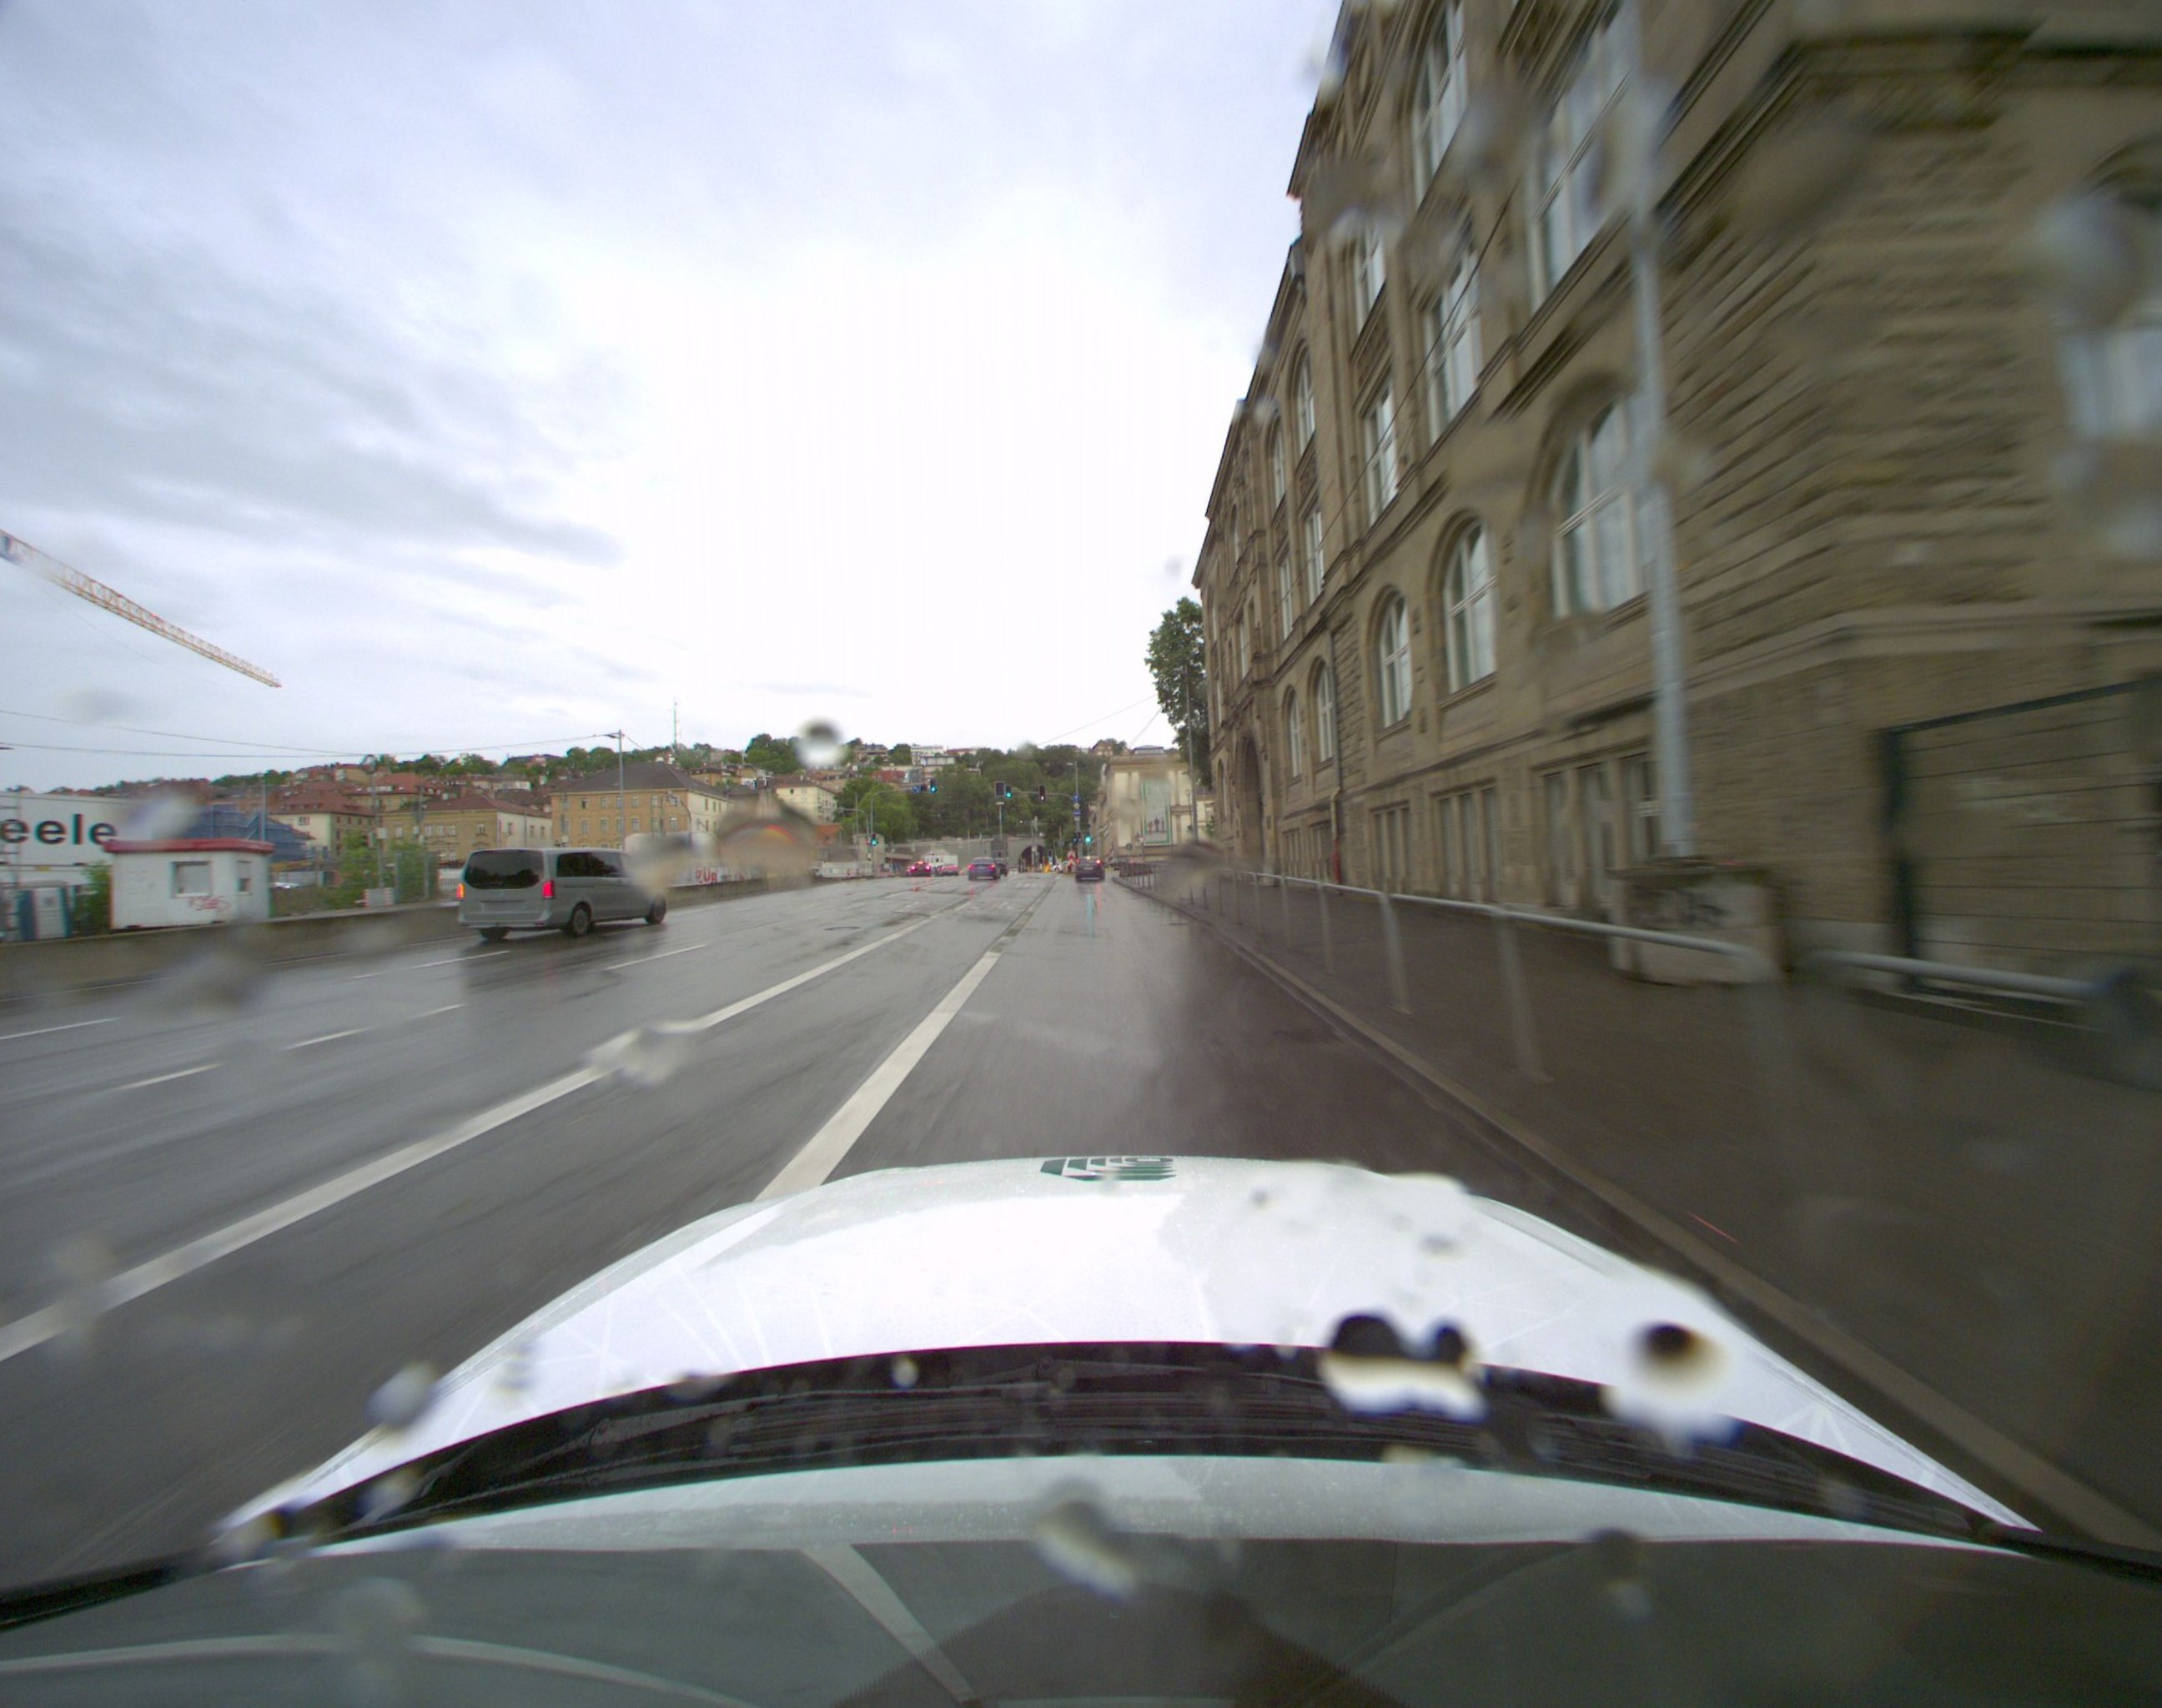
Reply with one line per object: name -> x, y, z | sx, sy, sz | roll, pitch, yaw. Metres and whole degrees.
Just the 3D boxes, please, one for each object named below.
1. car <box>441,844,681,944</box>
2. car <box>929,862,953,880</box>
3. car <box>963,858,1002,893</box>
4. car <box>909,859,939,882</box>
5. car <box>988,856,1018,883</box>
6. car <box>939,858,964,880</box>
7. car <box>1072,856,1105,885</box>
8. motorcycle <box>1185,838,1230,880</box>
car -> -11.211, 0.855, 18.195 | 1.988, 1.856, 5.353 | -1, -2, -1
car -> -16.992, 2.049, 98.834 | 1.986, 2.014, 4.000 | -3, -3, 1
car -> -6.394, 1.459, 53.272 | 2.099, 2.051, 3.997 | -3, -3, -1
car -> -14.733, 1.580, 76.612 | 2.011, 2.014, 3.997 | -3, -3, -1
car -> -6.457, 1.337, 67.746 | 1.768, 2.014, 4.004 | -3, -3, 4
car -> -13.389, 1.570, 84.462 | 2.046, 2.014, 3.995 | -3, -3, -2
car -> 0.494, 1.048, 49.593 | 1.806, 1.527, 4.000 | -3, -3, 1
motorcycle -> 6.395, 0.249, 41.651 | 1.788, 2.013, 3.815 | -2, 0, 2
